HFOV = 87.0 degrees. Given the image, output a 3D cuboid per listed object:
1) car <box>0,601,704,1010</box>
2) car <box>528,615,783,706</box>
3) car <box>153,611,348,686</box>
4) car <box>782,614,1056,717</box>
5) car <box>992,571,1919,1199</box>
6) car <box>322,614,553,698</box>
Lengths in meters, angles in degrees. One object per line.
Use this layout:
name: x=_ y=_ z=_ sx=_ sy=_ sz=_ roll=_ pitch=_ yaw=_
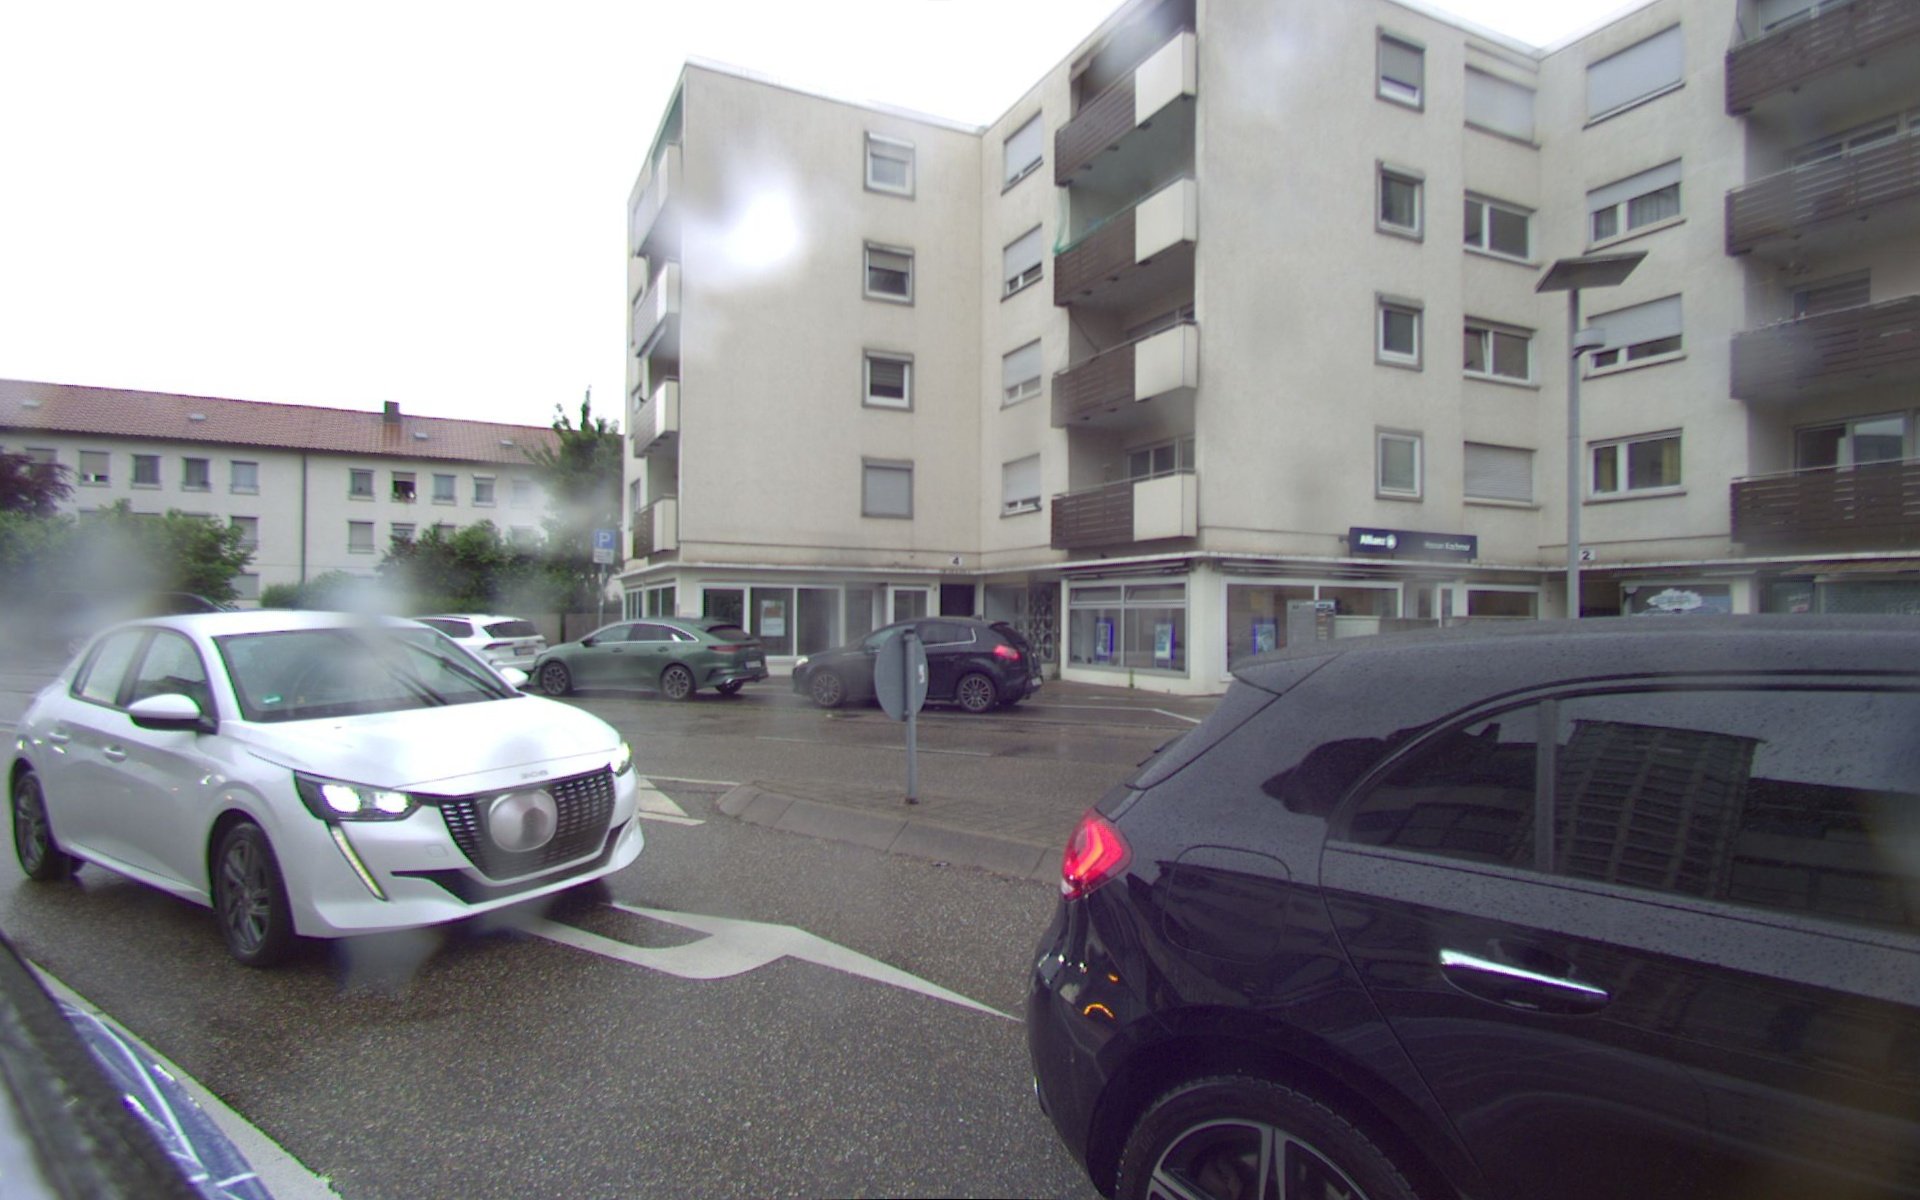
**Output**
car: x=-3.378 y=0.748 z=5.320 sx=3.882 sy=1.420 sz=1.726 roll=-1 pitch=0 yaw=31
car: x=-5.551 y=1.040 z=18.522 sx=4.241 sy=1.445 sz=1.826 roll=0 pitch=0 yaw=19
car: x=-15.657 y=1.029 z=22.355 sx=3.852 sy=1.517 sz=1.623 roll=0 pitch=-1 yaw=20
car: x=-0.657 y=0.993 z=16.634 sx=4.156 sy=1.471 sz=1.825 roll=0 pitch=0 yaw=20
car: x=2.168 y=0.685 z=1.310 sx=4.090 sy=1.492 sz=1.646 roll=-2 pitch=-1 yaw=40
car: x=-10.481 y=1.070 z=20.314 sx=4.313 sy=1.511 sz=1.627 roll=0 pitch=-1 yaw=20
